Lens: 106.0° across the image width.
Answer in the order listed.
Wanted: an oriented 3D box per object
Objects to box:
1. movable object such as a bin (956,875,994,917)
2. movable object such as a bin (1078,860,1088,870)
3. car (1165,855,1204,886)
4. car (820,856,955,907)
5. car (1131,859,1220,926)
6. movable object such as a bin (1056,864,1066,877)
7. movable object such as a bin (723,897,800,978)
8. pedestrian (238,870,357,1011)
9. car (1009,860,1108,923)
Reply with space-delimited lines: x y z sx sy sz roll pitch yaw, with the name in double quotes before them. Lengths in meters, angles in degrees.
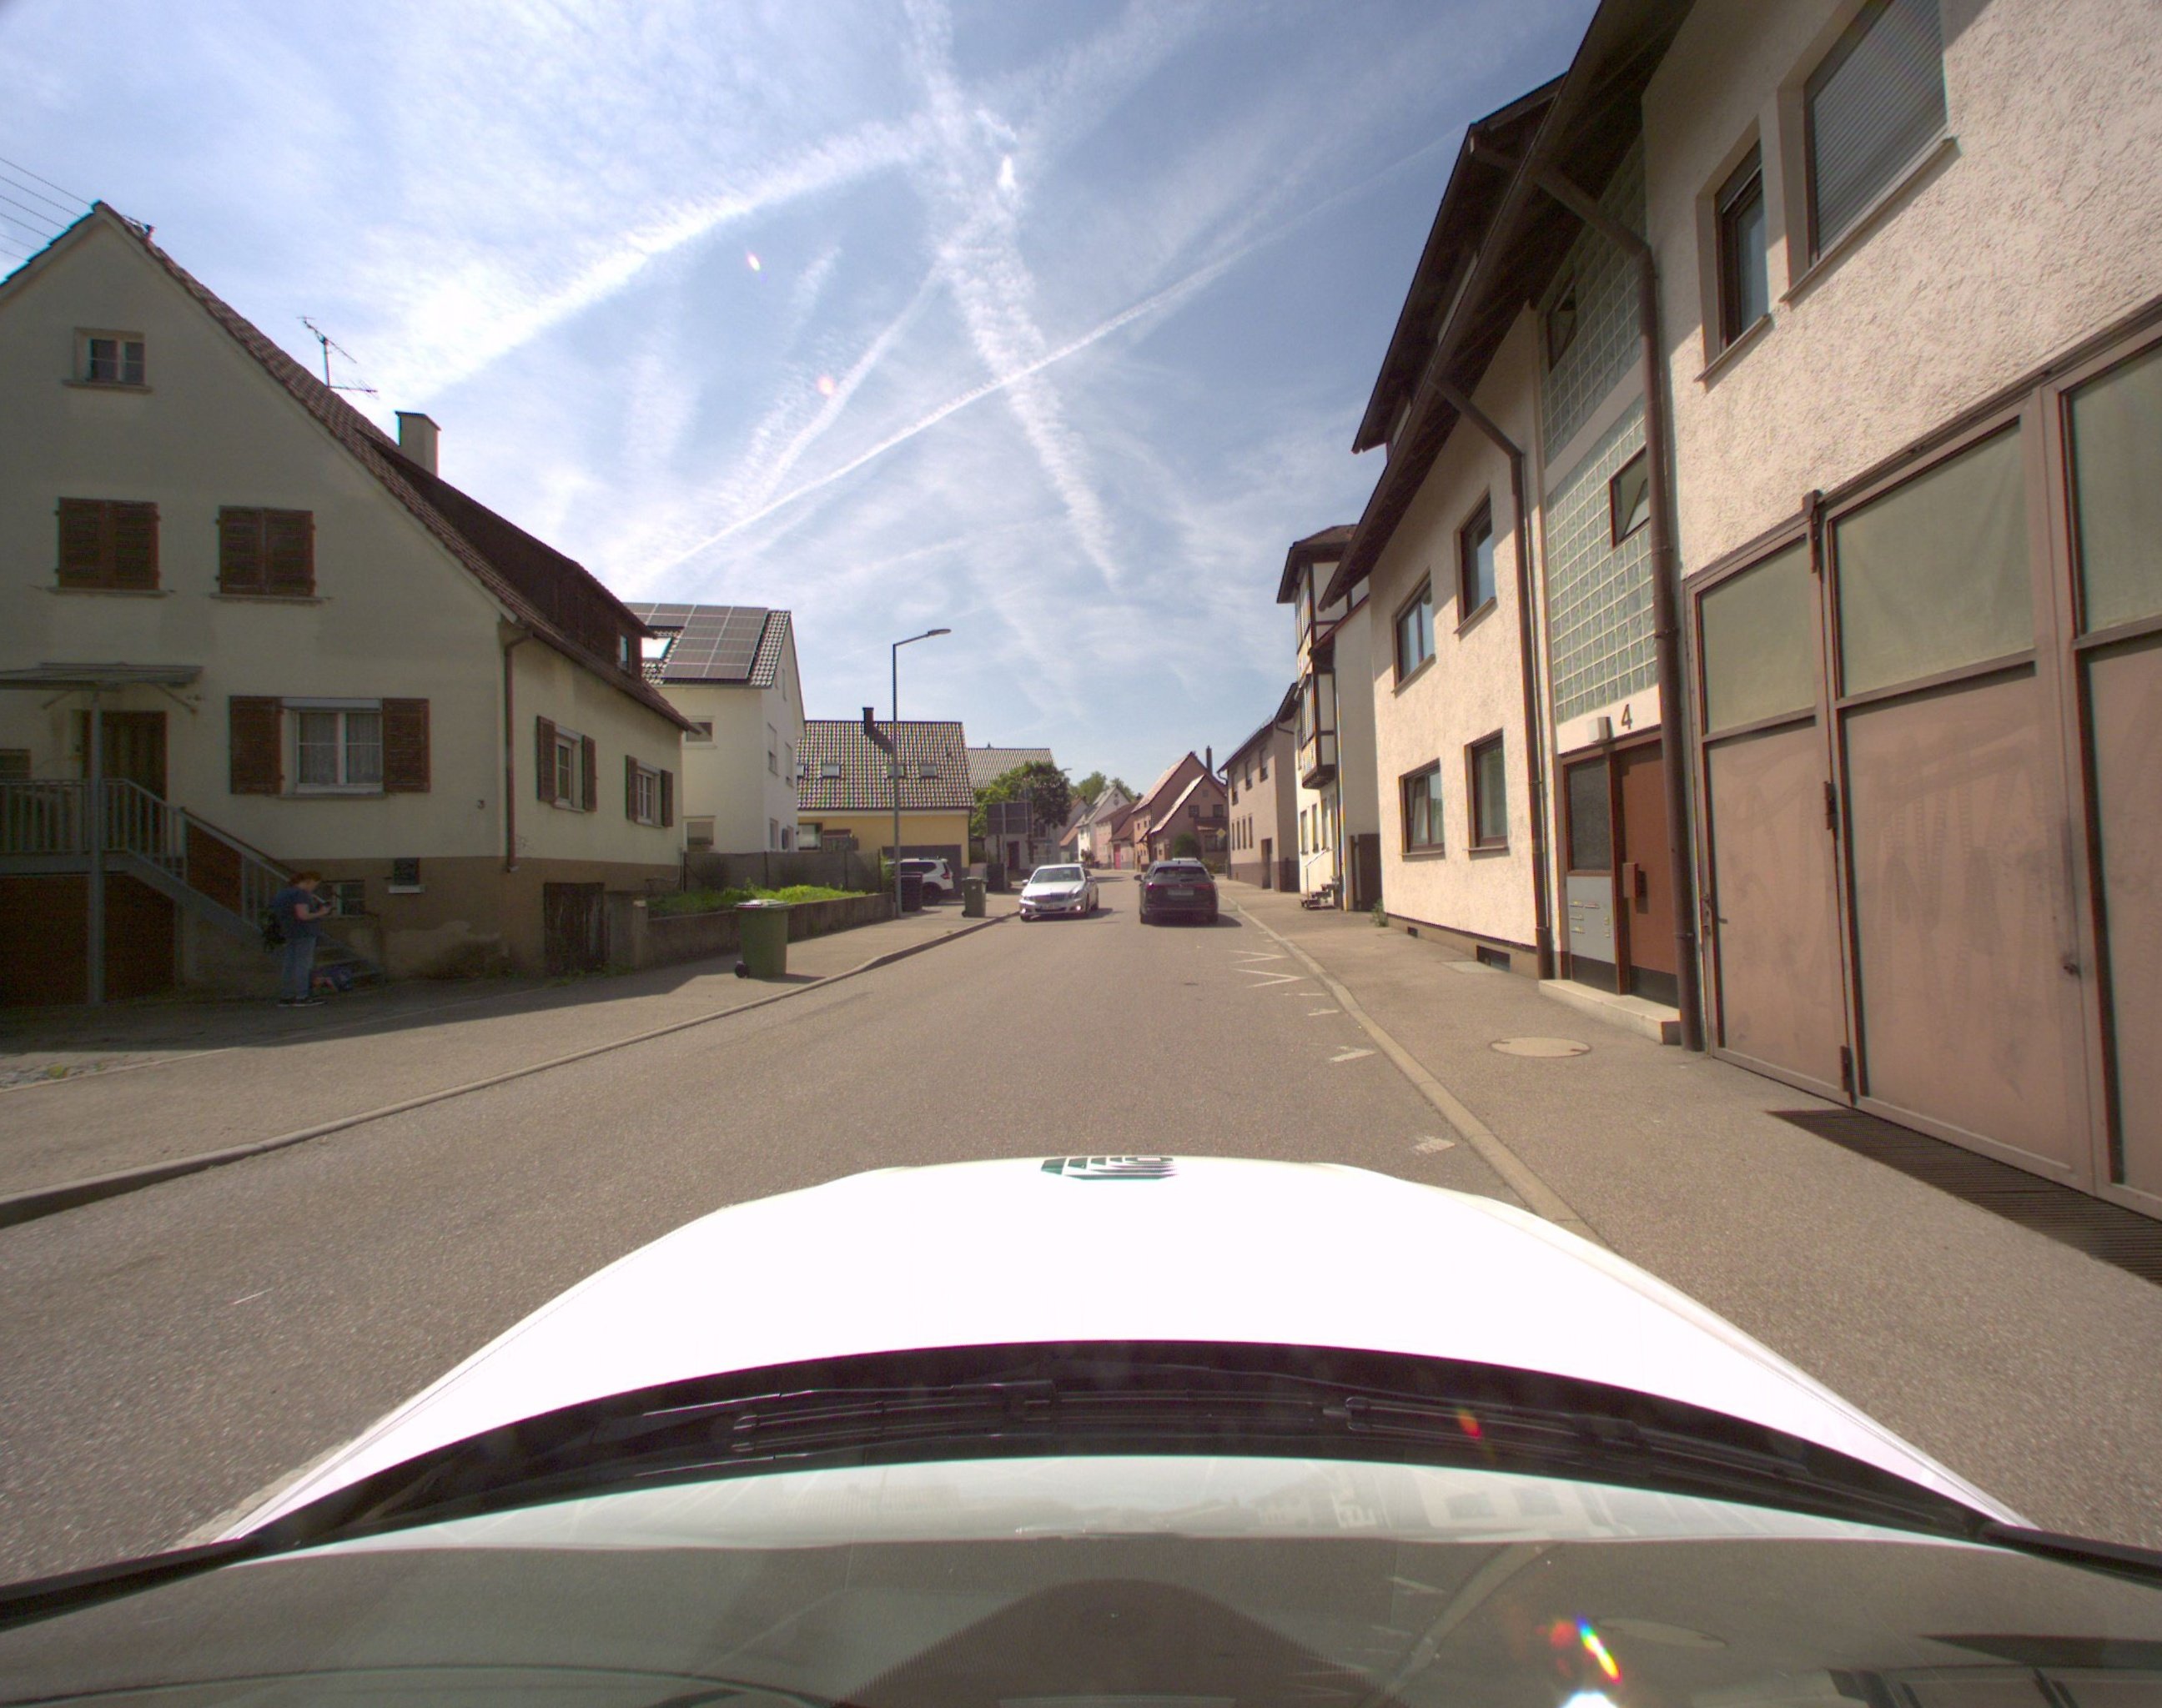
"movable object such as a bin" -2.895 1.138 22.311 0.821 1.077 0.819 -1 0 7
"movable object such as a bin" 0.234 1.383 101.409 0.878 1.074 0.867 -6 1 -17
"car" 5.164 0.797 41.219 1.777 1.442 4.343 -1 0 5
"car" -6.753 0.962 28.830 4.397 1.622 1.995 -1 -1 -7
"car" 2.448 0.862 20.013 1.830 1.420 4.696 -1 0 11
"movable object such as a bin" -1.691 1.369 68.609 0.753 1.060 0.678 -1 0 -7
"movable object such as a bin" -4.515 1.163 11.541 0.788 1.057 0.651 -2 0 2
"pedestrian" -9.261 0.996 9.650 0.775 1.574 0.627 -1 0 -3
"car" -0.509 0.976 23.046 1.944 1.486 4.470 -4 -1 9
